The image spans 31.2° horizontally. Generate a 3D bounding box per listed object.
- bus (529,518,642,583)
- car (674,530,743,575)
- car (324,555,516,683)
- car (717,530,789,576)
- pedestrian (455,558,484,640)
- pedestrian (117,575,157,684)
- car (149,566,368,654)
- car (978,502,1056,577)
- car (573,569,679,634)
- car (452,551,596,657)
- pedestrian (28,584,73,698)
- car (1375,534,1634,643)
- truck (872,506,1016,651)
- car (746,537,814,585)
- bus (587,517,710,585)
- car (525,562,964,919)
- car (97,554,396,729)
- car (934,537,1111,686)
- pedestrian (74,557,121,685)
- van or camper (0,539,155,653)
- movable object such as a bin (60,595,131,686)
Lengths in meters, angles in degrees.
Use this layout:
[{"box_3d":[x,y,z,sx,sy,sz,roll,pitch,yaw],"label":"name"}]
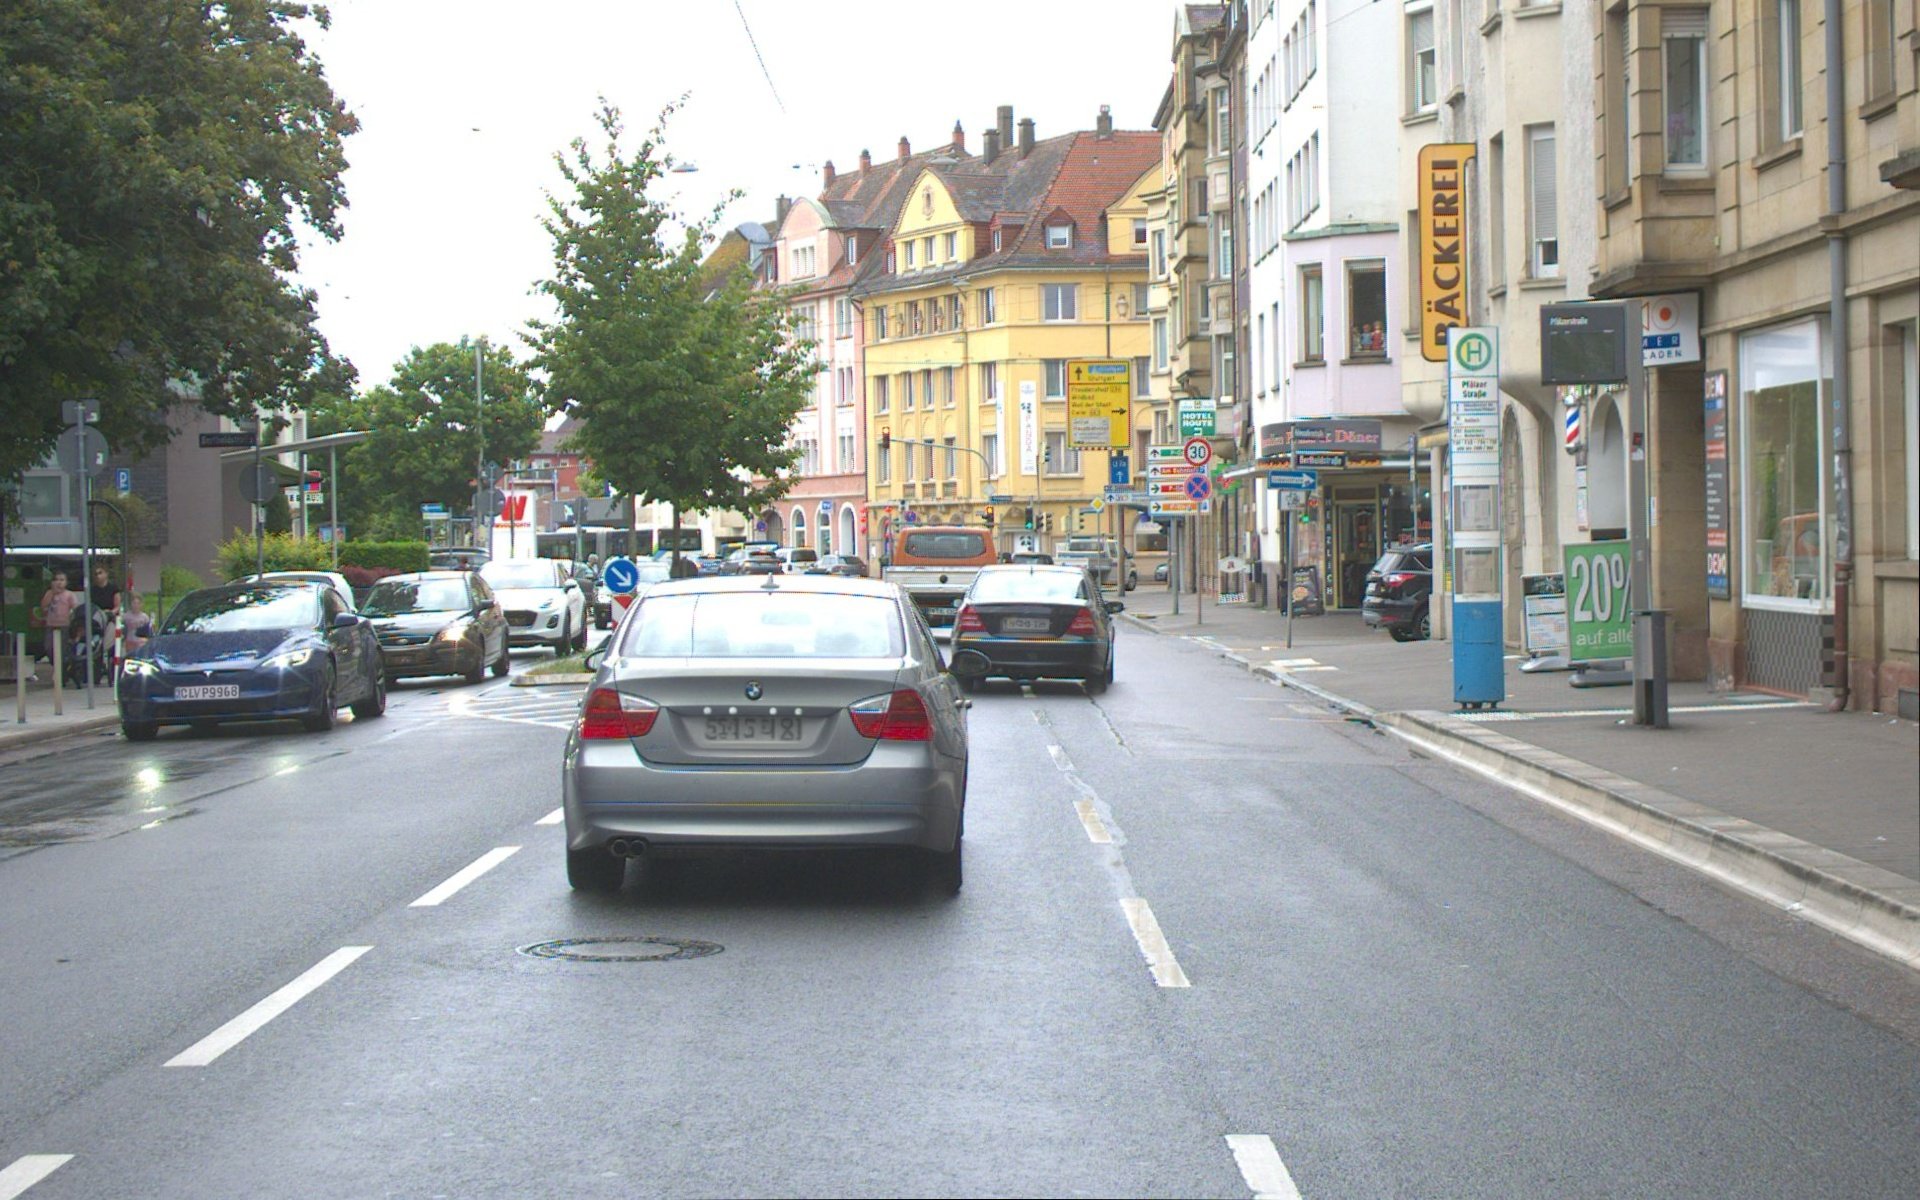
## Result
[{"box_3d":[-18.722,-2.463,171.456,2.908,3.094,8.873,-1,1,-25],"label":"bus"},{"box_3d":[-11.406,-2.148,155.885,1.993,2.007,4.001,-1,1,-21],"label":"car"},{"box_3d":[-6.998,0.206,44.927,1.955,1.551,4.244,-1,1,-2],"label":"car"},{"box_3d":[-9.062,-2.051,150.224,1.993,2.007,4.001,-1,1,-21],"label":"car"},{"box_3d":[-10.568,-0.026,74.030,0.574,1.756,0.581,-1,1,-6],"label":"pedestrian"},{"box_3d":[-10.759,0.381,44.956,0.433,1.405,0.481,0,1,-4],"label":"pedestrian"},{"box_3d":[-12.991,0.171,63.699,3.577,1.564,1.741,0,1,-33],"label":"car"},{"box_3d":[1.533,-1.659,94.374,1.993,2.007,4.000,0,1,-1],"label":"car"},{"box_3d":[-7.654,0.022,79.109,2.013,1.421,4.500,0,1,0],"label":"car"},{"box_3d":[-6.893,0.035,54.726,1.819,1.563,4.089,-2,1,-1],"label":"car"},{"box_3d":[-11.865,0.528,44.847,0.459,1.468,0.530,0,1,-4],"label":"pedestrian"},{"box_3d":[8.916,-0.202,56.565,4.139,1.766,1.873,0,1,7],"label":"car"},{"box_3d":[-0.269,-0.365,55.883,2.224,2.242,5.063,0,1,-1],"label":"truck"},{"box_3d":[-8.606,-1.858,164.124,1.761,2.173,4.001,2,0,-25],"label":"car"},{"box_3d":[-14.851,-2.340,163.290,2.908,3.094,9.145,-1,1,-25],"label":"bus"},{"box_3d":[-0.933,0.590,16.295,1.799,1.459,4.371,0,0,-1],"label":"car"},{"box_3d":[-6.919,0.350,33.850,1.955,1.506,4.913,-2,1,-1],"label":"car"},{"box_3d":[0.645,0.116,38.136,1.799,1.558,4.000,0,0,-1],"label":"car"},{"box_3d":[-11.274,0.268,44.933,0.497,1.667,0.553,0,1,-4],"label":"pedestrian"},{"box_3d":[-17.085,-0.081,61.285,4.951,2.007,2.000,0,1,-29],"label":"van or camper"},{"box_3d":[-11.127,0.516,44.279,0.703,1.130,0.966,1,1,-3],"label":"movable object such as a bin"}]
